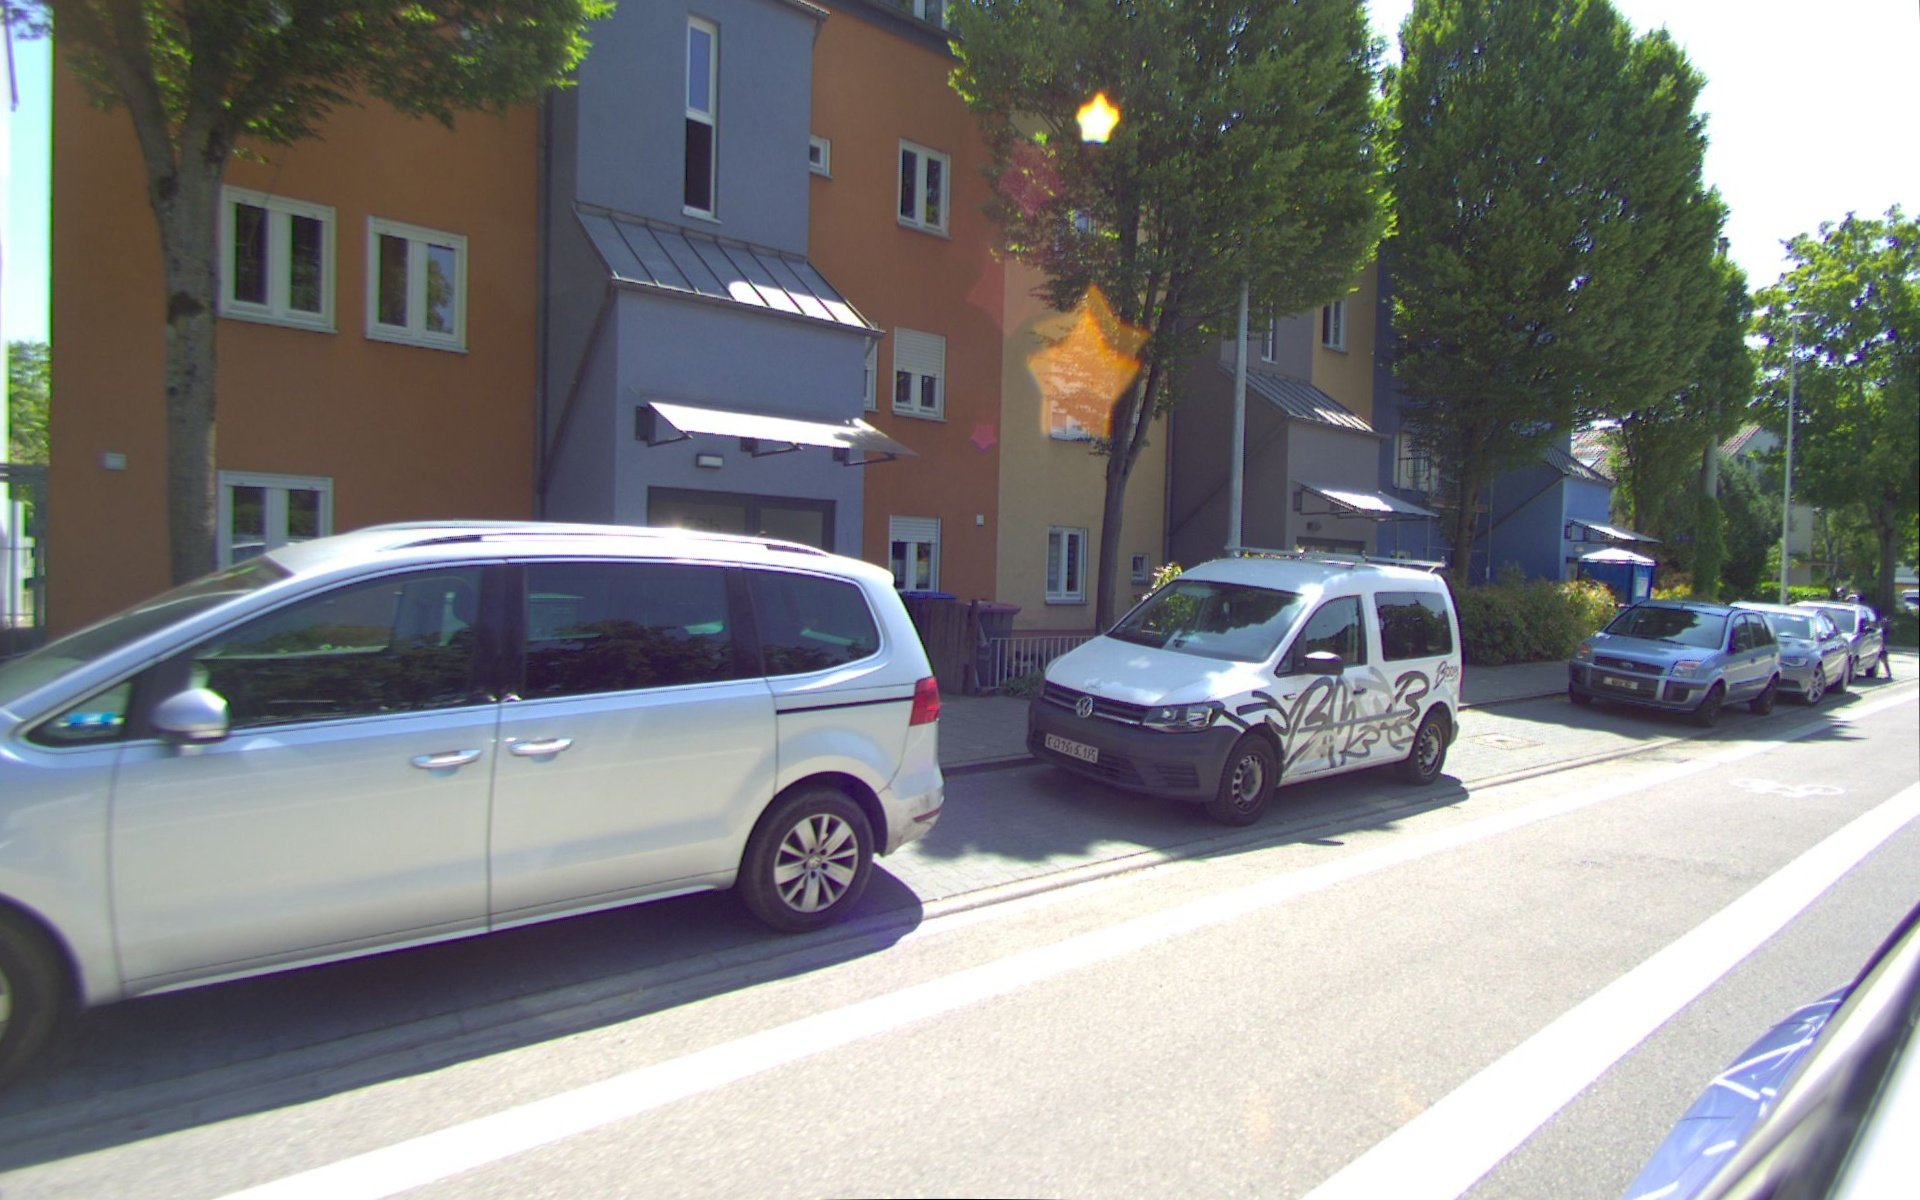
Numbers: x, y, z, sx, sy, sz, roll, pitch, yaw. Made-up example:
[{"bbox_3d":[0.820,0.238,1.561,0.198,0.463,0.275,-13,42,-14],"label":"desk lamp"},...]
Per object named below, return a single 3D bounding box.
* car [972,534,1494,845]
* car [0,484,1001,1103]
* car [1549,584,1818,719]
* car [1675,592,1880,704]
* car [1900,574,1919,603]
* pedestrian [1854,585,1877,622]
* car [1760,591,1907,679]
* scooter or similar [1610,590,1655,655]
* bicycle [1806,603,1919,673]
[{"bbox_3d":[2.342,0.487,8.086,4.276,1.815,1.845,0,4,-40],"label":"car"},{"bbox_3d":[-2.237,0.479,4.262,4.691,1.714,1.846,0,4,-38],"label":"car"},{"bbox_3d":[10.256,0.617,14.265,4.137,1.548,1.847,0,4,-37],"label":"car"},{"bbox_3d":[14.048,0.692,17.288,4.879,1.548,1.845,0,4,-41],"label":"car"},{"bbox_3d":[83.529,-1.019,85.651,2.056,2.491,5.505,0,-1,-37],"label":"car"},{"bbox_3d":[42.954,0.164,48.001,0.622,1.743,0.747,0,0,-44],"label":"pedestrian"},{"bbox_3d":[17.820,0.653,20.603,3.747,1.548,1.524,0,4,-38],"label":"car"},{"bbox_3d":[13.815,0.439,20.769,1.314,1.296,0.385,0,0,-39],"label":"scooter or similar"},{"bbox_3d":[19.472,0.795,21.739,0.670,1.242,1.782,0,6,-33],"label":"bicycle"}]
